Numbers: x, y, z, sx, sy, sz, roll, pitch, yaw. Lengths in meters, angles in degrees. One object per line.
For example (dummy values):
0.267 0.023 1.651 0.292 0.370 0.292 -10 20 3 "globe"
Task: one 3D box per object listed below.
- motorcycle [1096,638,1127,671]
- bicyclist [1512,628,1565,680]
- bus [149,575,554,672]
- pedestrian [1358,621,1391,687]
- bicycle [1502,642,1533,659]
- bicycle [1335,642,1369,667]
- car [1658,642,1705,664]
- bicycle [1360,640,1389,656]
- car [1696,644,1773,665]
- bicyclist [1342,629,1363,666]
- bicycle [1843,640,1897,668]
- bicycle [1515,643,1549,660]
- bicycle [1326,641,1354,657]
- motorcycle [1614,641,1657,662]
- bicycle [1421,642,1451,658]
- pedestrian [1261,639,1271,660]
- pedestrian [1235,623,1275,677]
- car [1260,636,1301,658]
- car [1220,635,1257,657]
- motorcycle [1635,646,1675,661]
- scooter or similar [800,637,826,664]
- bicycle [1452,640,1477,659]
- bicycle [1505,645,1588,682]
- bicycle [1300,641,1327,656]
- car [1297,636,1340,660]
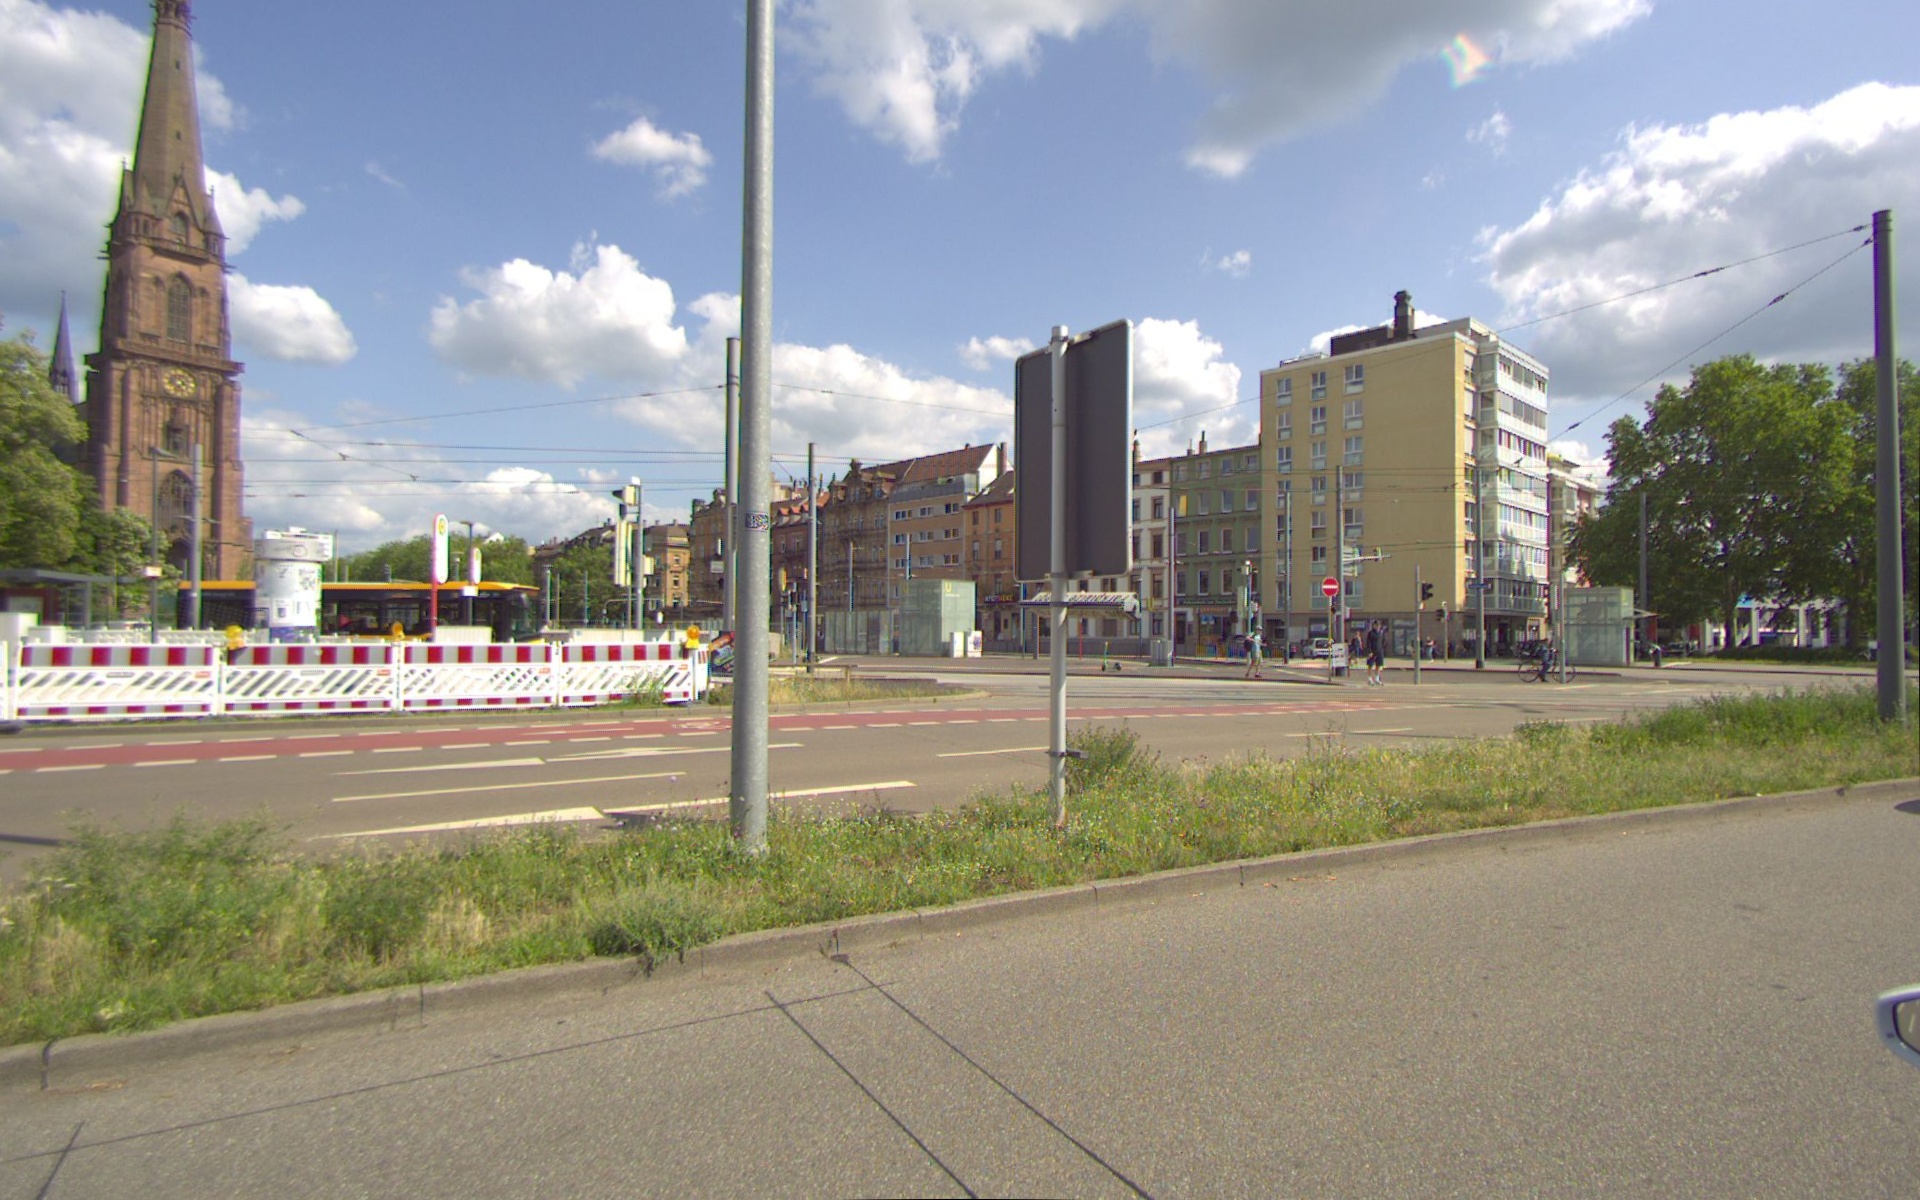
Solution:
5.990 2.149 39.730 0.478 1.253 1.437 2 -3 -27 "motorcycle"
19.889 1.852 34.544 0.984 1.753 1.290 2 -3 -32 "bicyclist"
-21.306 0.843 35.654 12.586 3.177 2.835 1 -2 0 "bus"
12.379 1.593 29.997 0.753 1.928 0.825 2 0 29 "pedestrian"
38.812 3.525 69.911 1.784 1.162 0.792 -1 -2 43 "bicycle"
19.776 2.738 50.653 0.877 1.153 2.345 2 -1 41 "bicycle"
50.680 3.724 70.560 3.971 1.432 1.888 4 -4 -42 "car"
30.882 3.572 74.844 1.783 1.118 0.793 -1 -2 42 "bicycle"
54.289 3.806 70.453 1.615 1.344 3.967 3 -4 -31 "car"
19.817 2.389 50.688 0.768 1.821 0.707 2 0 41 "bicyclist"
49.763 2.952 54.919 0.807 1.433 2.146 1 -1 -44 "bicycle"
40.049 3.587 70.335 1.922 1.162 0.792 -1 -2 43 "bicycle"
29.012 3.745 76.701 1.783 1.118 0.793 -1 -2 42 "bicycle"
42.137 3.183 62.674 0.890 1.254 2.214 0 -2 -12 "motorcycle"
33.865 3.549 71.528 1.783 1.118 0.793 -1 -2 42 "bicycle"
22.872 3.726 75.132 0.686 1.554 0.556 -1 -3 18 "pedestrian"
10.087 1.710 34.360 1.015 1.821 0.762 2 0 -27 "pedestrian"
22.586 3.327 71.002 1.862 1.516 3.903 1 -3 4 "car"
20.393 3.397 73.651 1.862 1.516 3.903 1 -3 4 "car"
45.702 3.533 66.095 2.003 0.929 0.812 -1 -2 7 "motorcycle"
-6.720 2.292 45.963 0.836 1.120 1.646 2 -1 3 "scooter or similar"
35.967 3.524 71.597 1.791 1.275 0.789 2 -2 -34 "bicycle"
20.012 2.149 34.333 0.984 1.204 2.281 2 -3 -32 "bicycle"
27.470 3.779 78.026 1.783 1.118 0.793 -1 -2 42 "bicycle"
24.944 3.348 70.039 1.861 1.516 3.903 1 -3 5 "car"
